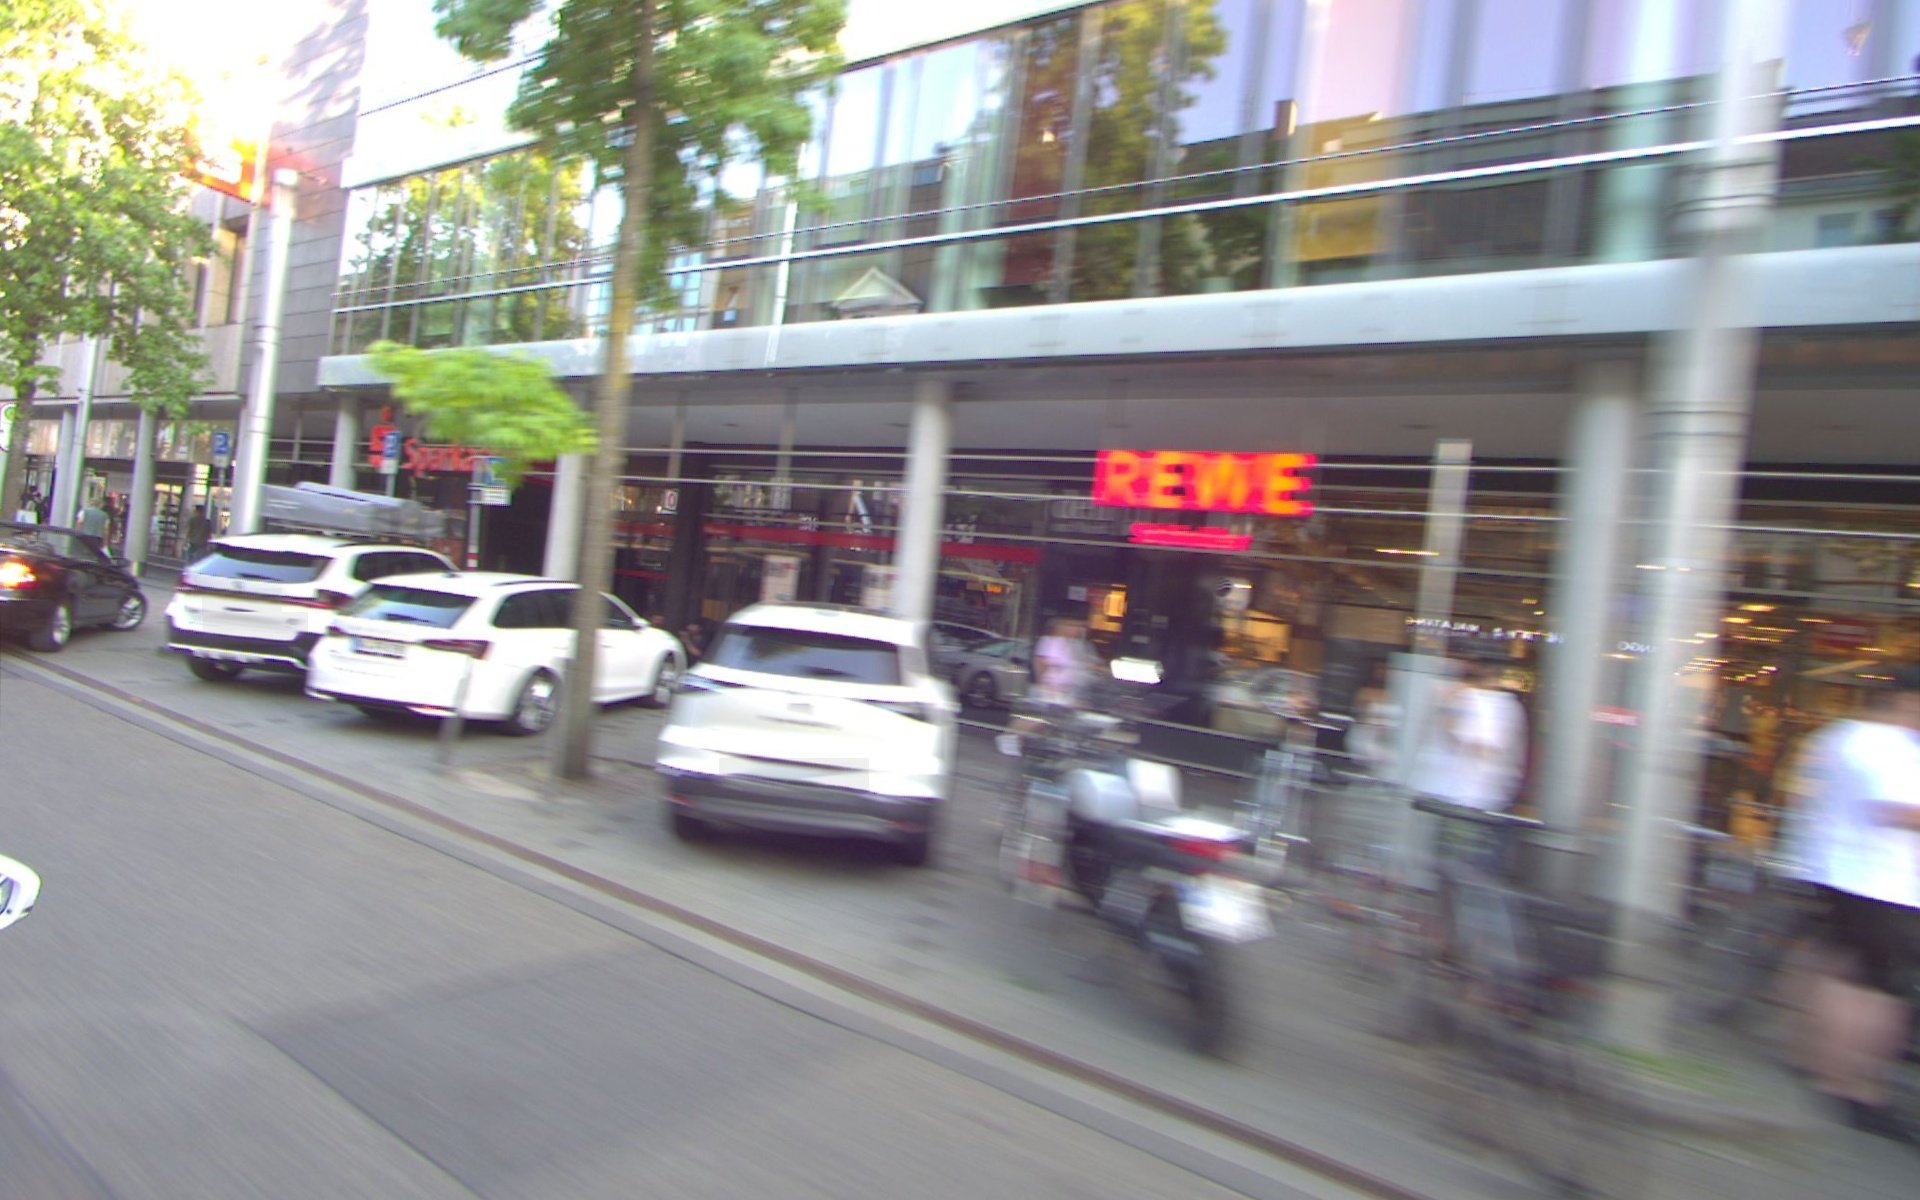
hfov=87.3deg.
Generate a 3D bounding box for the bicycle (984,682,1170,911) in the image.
[{"bbox_3d":[0.713,1.238,6.837,0.902,1.131,1.749,7,0,-2],"label":"bicycle"}]

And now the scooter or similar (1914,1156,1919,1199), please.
[{"bbox_3d":[3.440,1.482,2.563,1.369,1.320,0.696,7,1,-6],"label":"scooter or similar"}]

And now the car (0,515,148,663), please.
[{"bbox_3d":[-11.170,-0.262,11.716,1.788,1.364,4.413,8,-1,-29],"label":"car"}]

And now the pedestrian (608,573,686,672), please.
[{"bbox_3d":[-5.271,0.384,16.944,0.957,1.545,0.660,6,-1,35],"label":"pedestrian"}]

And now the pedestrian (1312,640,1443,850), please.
[{"bbox_3d":[3.822,1.299,9.199,0.792,1.719,0.681,9,0,32],"label":"pedestrian"}]

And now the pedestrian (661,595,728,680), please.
[{"bbox_3d":[-4.382,0.626,16.607,0.721,1.306,0.634,6,-1,35],"label":"pedestrian"}]

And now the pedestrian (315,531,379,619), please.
[{"bbox_3d":[-12.476,-0.508,20.483,1.005,1.637,0.596,8,2,32],"label":"pedestrian"}]

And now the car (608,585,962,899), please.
[{"bbox_3d":[-0.985,0.776,7.829,1.842,1.583,4.341,6,1,0],"label":"car"}]

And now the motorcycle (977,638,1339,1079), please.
[{"bbox_3d":[0.779,1.042,4.894,0.783,1.490,2.200,7,1,-11],"label":"motorcycle"}]

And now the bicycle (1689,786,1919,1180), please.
[{"bbox_3d":[4.136,1.611,4.424,0.685,1.163,2.000,7,1,14],"label":"bicycle"}]

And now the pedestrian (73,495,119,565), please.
[{"bbox_3d":[-21.939,-1.774,25.547,0.743,1.637,0.596,8,2,33],"label":"pedestrian"}]

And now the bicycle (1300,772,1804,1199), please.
[{"bbox_3d":[2.053,1.414,3.867,0.792,1.131,1.749,7,0,1],"label":"bicycle"}]

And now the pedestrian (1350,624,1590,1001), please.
[{"bbox_3d":[2.749,1.106,5.523,0.590,1.837,0.817,7,3,-6],"label":"pedestrian"}]

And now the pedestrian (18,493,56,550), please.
[{"bbox_3d":[-28.874,-2.454,31.464,0.816,1.637,0.596,8,2,33],"label":"pedestrian"}]

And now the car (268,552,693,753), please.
[{"bbox_3d":[-4.600,0.437,10.482,1.828,1.476,4.184,6,1,10],"label":"car"}]

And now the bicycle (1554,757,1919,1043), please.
[{"bbox_3d":[4.578,1.680,6.065,0.809,1.107,1.833,7,0,2],"label":"bicycle"}]

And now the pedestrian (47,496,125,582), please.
[{"bbox_3d":[-18.235,-1.260,21.002,0.743,1.599,0.879,8,-1,32],"label":"pedestrian"}]

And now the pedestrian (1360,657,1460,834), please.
[{"bbox_3d":[4.373,1.392,9.752,0.654,1.566,0.681,6,-2,32],"label":"pedestrian"}]

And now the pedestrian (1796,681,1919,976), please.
[{"bbox_3d":[6.308,1.516,6.862,0.706,1.836,0.657,7,2,37],"label":"pedestrian"}]

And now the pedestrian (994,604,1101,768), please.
[{"bbox_3d":[0.998,0.972,11.410,0.792,1.719,0.681,6,-2,32],"label":"pedestrian"}]

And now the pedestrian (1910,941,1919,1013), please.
[{"bbox_3d":[5.944,1.472,5.523,0.652,1.836,0.712,6,1,-27],"label":"pedestrian"}]

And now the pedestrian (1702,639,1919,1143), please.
[{"bbox_3d":[4.064,1.200,4.407,0.847,1.939,0.951,8,3,21],"label":"pedestrian"}]

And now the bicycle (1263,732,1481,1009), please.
[{"bbox_3d":[2.260,1.436,5.741,0.543,1.048,1.595,6,3,3],"label":"bicycle"}]

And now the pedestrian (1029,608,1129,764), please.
[{"bbox_3d":[1.424,1.011,11.954,0.792,1.719,0.663,6,-2,32],"label":"pedestrian"}]

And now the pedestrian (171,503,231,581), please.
[{"bbox_3d":[-19.700,-1.509,26.122,0.928,1.859,0.833,8,1,33],"label":"pedestrian"}]

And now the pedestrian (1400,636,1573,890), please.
[{"bbox_3d":[4.088,1.253,7.846,0.781,1.836,0.656,6,1,-22],"label":"pedestrian"}]

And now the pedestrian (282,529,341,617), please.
[{"bbox_3d":[-12.950,-0.538,20.088,0.743,1.637,0.596,8,2,32],"label":"pedestrian"}]

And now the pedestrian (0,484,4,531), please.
[{"bbox_3d":[-31.876,-2.899,32.570,0.914,1.901,1.054,8,2,33],"label":"pedestrian"}]

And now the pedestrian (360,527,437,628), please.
[{"bbox_3d":[-10.704,-0.418,19.179,0.743,1.805,0.878,8,2,32],"label":"pedestrian"}]

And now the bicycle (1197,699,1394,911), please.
[{"bbox_3d":[2.397,1.423,7.464,0.828,1.131,1.791,7,0,3],"label":"bicycle"}]

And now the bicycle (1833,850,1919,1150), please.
[{"bbox_3d":[4.120,1.664,3.403,0.612,1.090,1.832,7,2,1],"label":"bicycle"}]

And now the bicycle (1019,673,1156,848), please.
[{"bbox_3d":[1.095,1.276,8.505,0.918,1.131,1.750,7,0,9],"label":"bicycle"}]

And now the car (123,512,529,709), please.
[{"bbox_3d":[-6.951,0.075,11.693,1.885,1.659,4.205,7,1,1],"label":"car"}]
